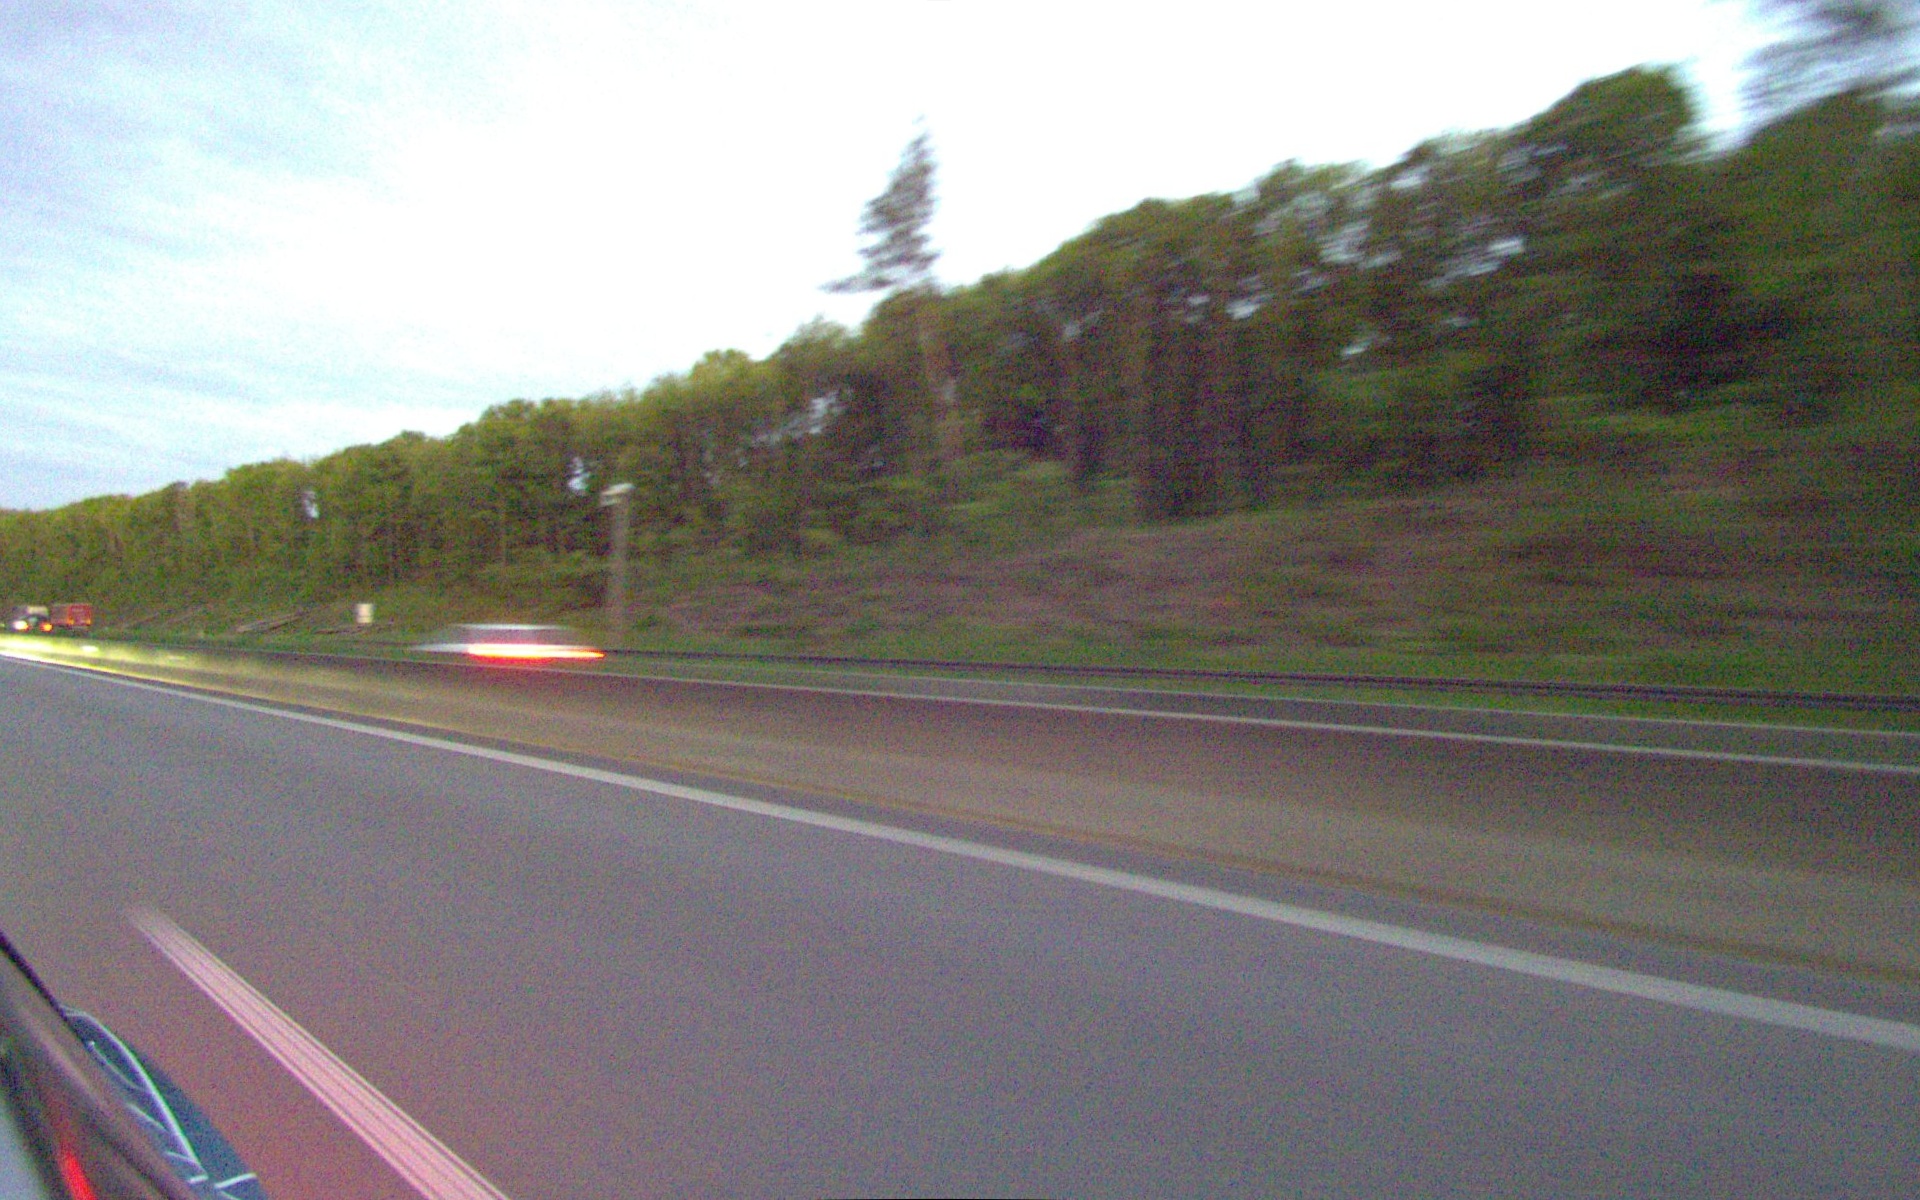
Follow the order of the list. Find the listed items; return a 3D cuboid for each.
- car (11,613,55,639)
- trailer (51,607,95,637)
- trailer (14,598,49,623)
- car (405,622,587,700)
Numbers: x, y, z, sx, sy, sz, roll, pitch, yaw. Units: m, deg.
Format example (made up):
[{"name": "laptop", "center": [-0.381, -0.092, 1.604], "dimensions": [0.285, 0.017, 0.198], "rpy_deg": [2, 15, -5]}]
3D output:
[{"name": "car", "center": [-92.605, 2.600, 101.048], "dimensions": [7.513, 2.503, 2.289], "rpy_deg": [-1, -2, 40]}, {"name": "trailer", "center": [-128.684, 3.161, 146.716], "dimensions": [14.181, 4.136, 3.157], "rpy_deg": [0, 0, 42]}, {"name": "trailer", "center": [-159.267, 1.757, 173.541], "dimensions": [13.736, 4.136, 3.157], "rpy_deg": [0, 0, 42]}, {"name": "car", "center": [-10.806, 1.323, 23.391], "dimensions": [5.157, 1.625, 1.897], "rpy_deg": [-1, -2, 41]}]
